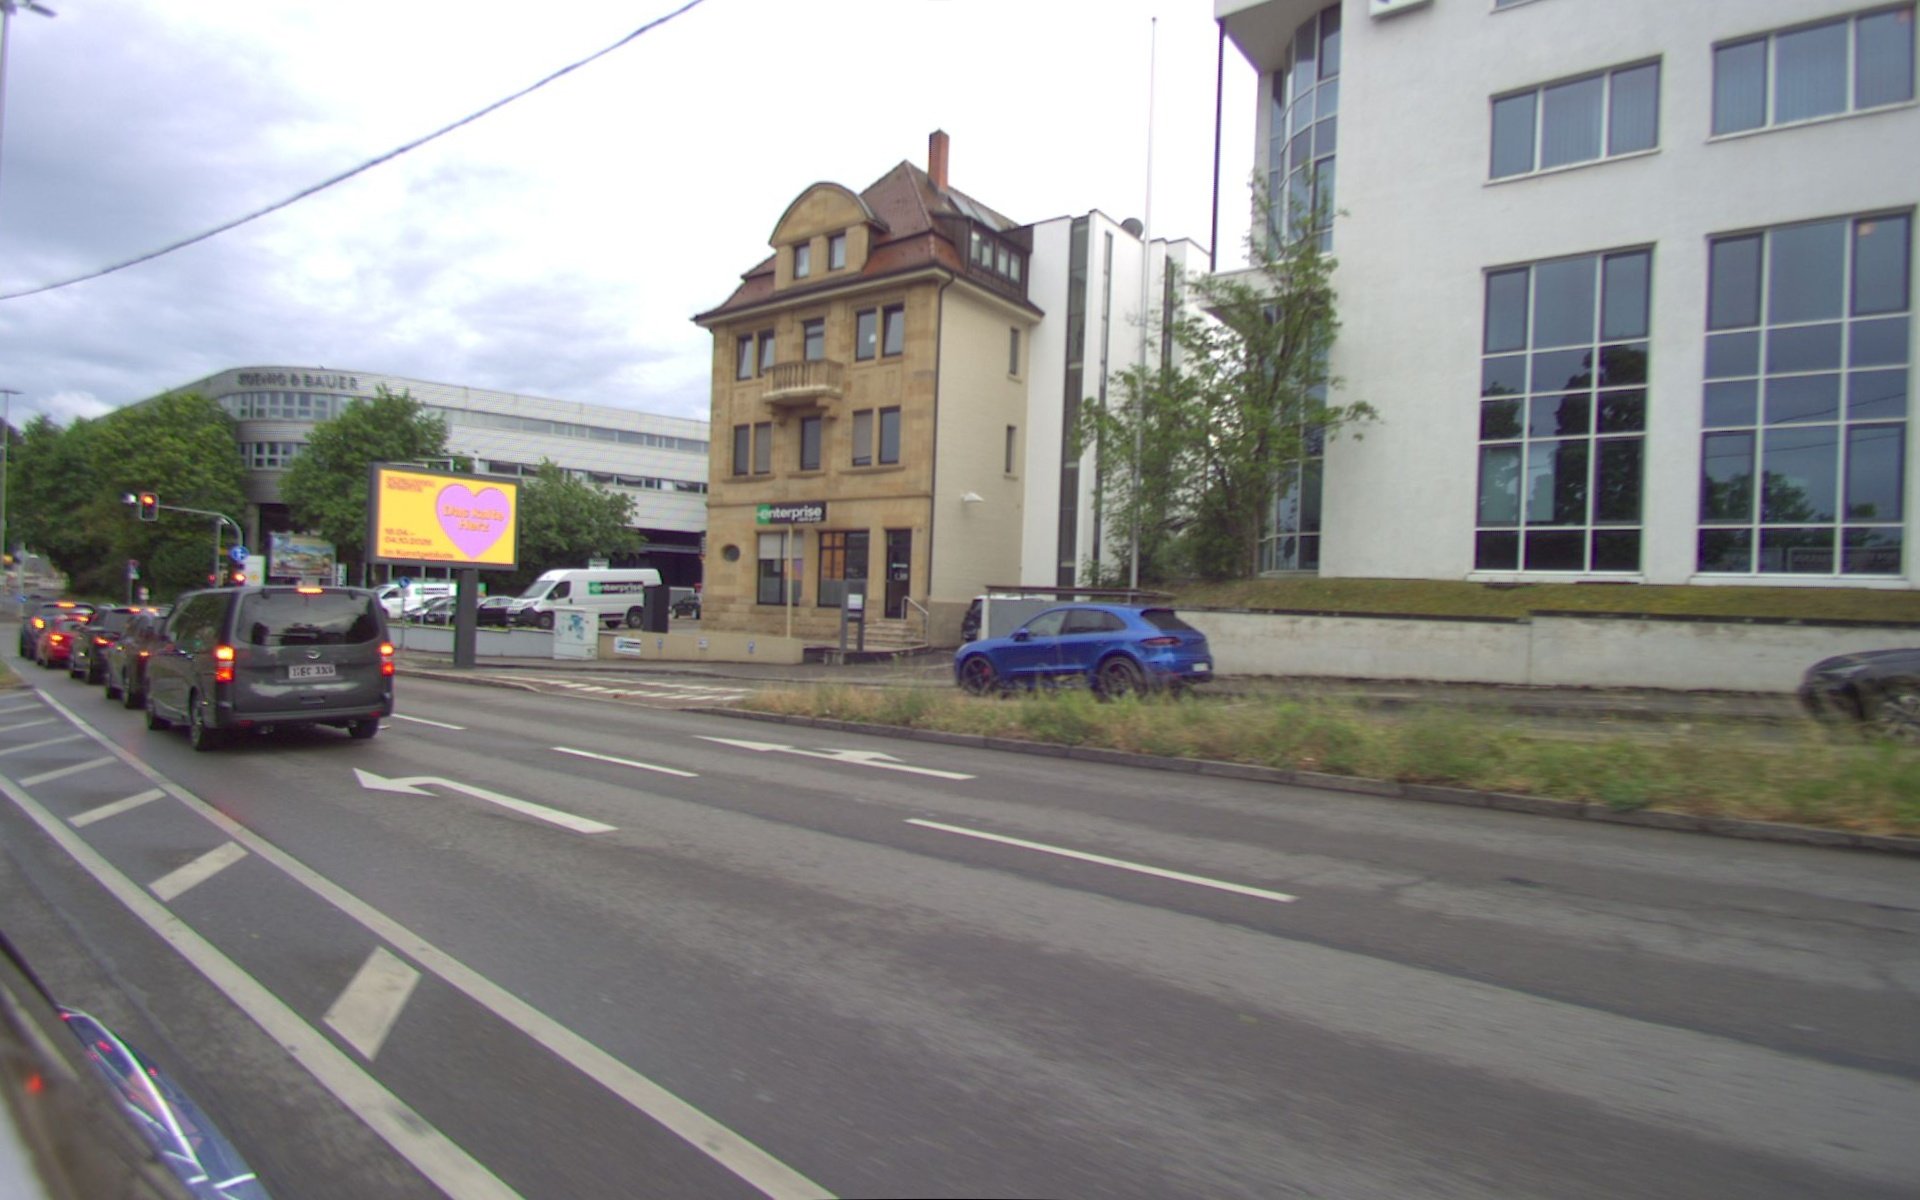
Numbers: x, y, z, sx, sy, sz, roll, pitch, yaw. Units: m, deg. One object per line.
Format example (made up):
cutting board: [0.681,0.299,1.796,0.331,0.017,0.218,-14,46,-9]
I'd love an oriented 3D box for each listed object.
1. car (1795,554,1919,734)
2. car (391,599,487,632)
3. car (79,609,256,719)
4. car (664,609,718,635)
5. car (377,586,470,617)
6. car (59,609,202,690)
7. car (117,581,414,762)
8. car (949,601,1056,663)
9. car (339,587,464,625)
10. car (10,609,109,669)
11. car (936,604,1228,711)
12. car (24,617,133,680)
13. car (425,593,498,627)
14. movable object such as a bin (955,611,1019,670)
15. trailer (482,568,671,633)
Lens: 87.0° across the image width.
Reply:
car: [10.602,0.411,9.659,3.990,1.735,1.594,-2,-4,40]
car: [-24.217,0.692,47.118,1.741,1.379,3.573,1,1,42]
car: [-14.321,1.056,18.193,4.728,1.616,1.670,1,-1,42]
car: [-15.175,1.251,57.001,1.351,1.417,4.350,3,-3,-37]
car: [-25.945,0.048,48.989,1.873,1.379,3.573,1,1,42]
car: [-19.387,1.099,23.584,4.625,1.710,1.933,-1,-3,43]
car: [-9.061,0.821,13.008,5.040,1.881,1.993,-1,-3,42]
car: [1.288,0.932,29.933,1.713,1.688,3.014,1,-1,37]
car: [-29.145,0.361,52.992,2.215,1.815,5.309,2,-1,34]
car: [-29.903,1.240,33.542,5.170,1.832,1.912,-1,-2,43]
car: [1.901,0.940,16.834,4.667,1.546,1.671,-2,-4,40]
car: [-25.285,1.333,28.980,4.441,1.542,1.787,1,-1,42]
car: [-22.211,0.434,45.151,1.227,1.435,2.650,1,1,42]
movable object such as a bin: [0.680,0.991,25.182,1.096,1.416,1.175,-2,-1,37]
trailer: [-15.826,0.086,42.198,2.394,2.446,7.024,1,-1,40]
